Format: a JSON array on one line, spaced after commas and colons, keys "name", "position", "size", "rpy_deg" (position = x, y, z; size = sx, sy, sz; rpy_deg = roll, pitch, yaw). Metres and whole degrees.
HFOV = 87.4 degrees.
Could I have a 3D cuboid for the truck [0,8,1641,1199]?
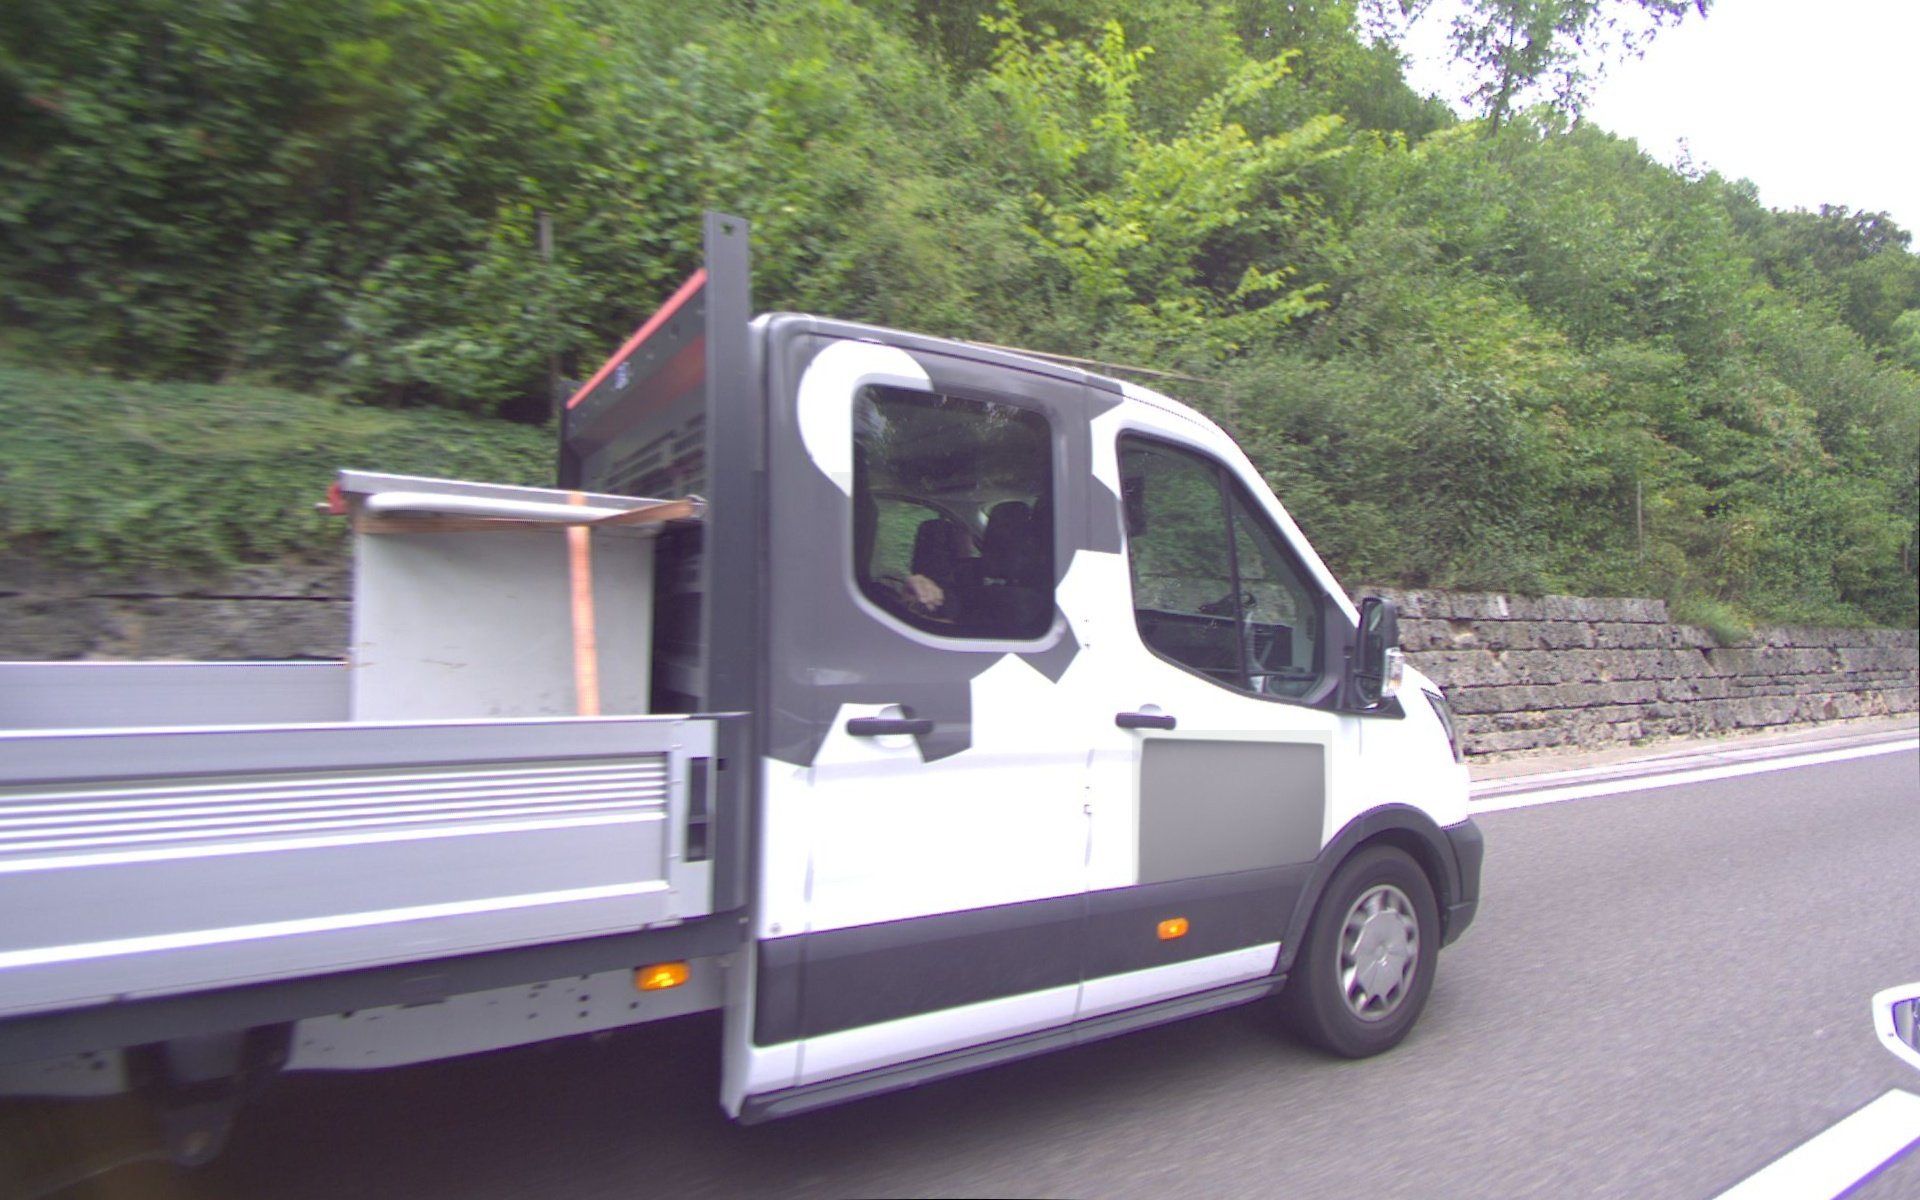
[{"name": "truck", "position": [-0.827, 0.364, 3.109], "size": [6.774, 2.304, 2.336], "rpy_deg": [2, -1, -32]}]
